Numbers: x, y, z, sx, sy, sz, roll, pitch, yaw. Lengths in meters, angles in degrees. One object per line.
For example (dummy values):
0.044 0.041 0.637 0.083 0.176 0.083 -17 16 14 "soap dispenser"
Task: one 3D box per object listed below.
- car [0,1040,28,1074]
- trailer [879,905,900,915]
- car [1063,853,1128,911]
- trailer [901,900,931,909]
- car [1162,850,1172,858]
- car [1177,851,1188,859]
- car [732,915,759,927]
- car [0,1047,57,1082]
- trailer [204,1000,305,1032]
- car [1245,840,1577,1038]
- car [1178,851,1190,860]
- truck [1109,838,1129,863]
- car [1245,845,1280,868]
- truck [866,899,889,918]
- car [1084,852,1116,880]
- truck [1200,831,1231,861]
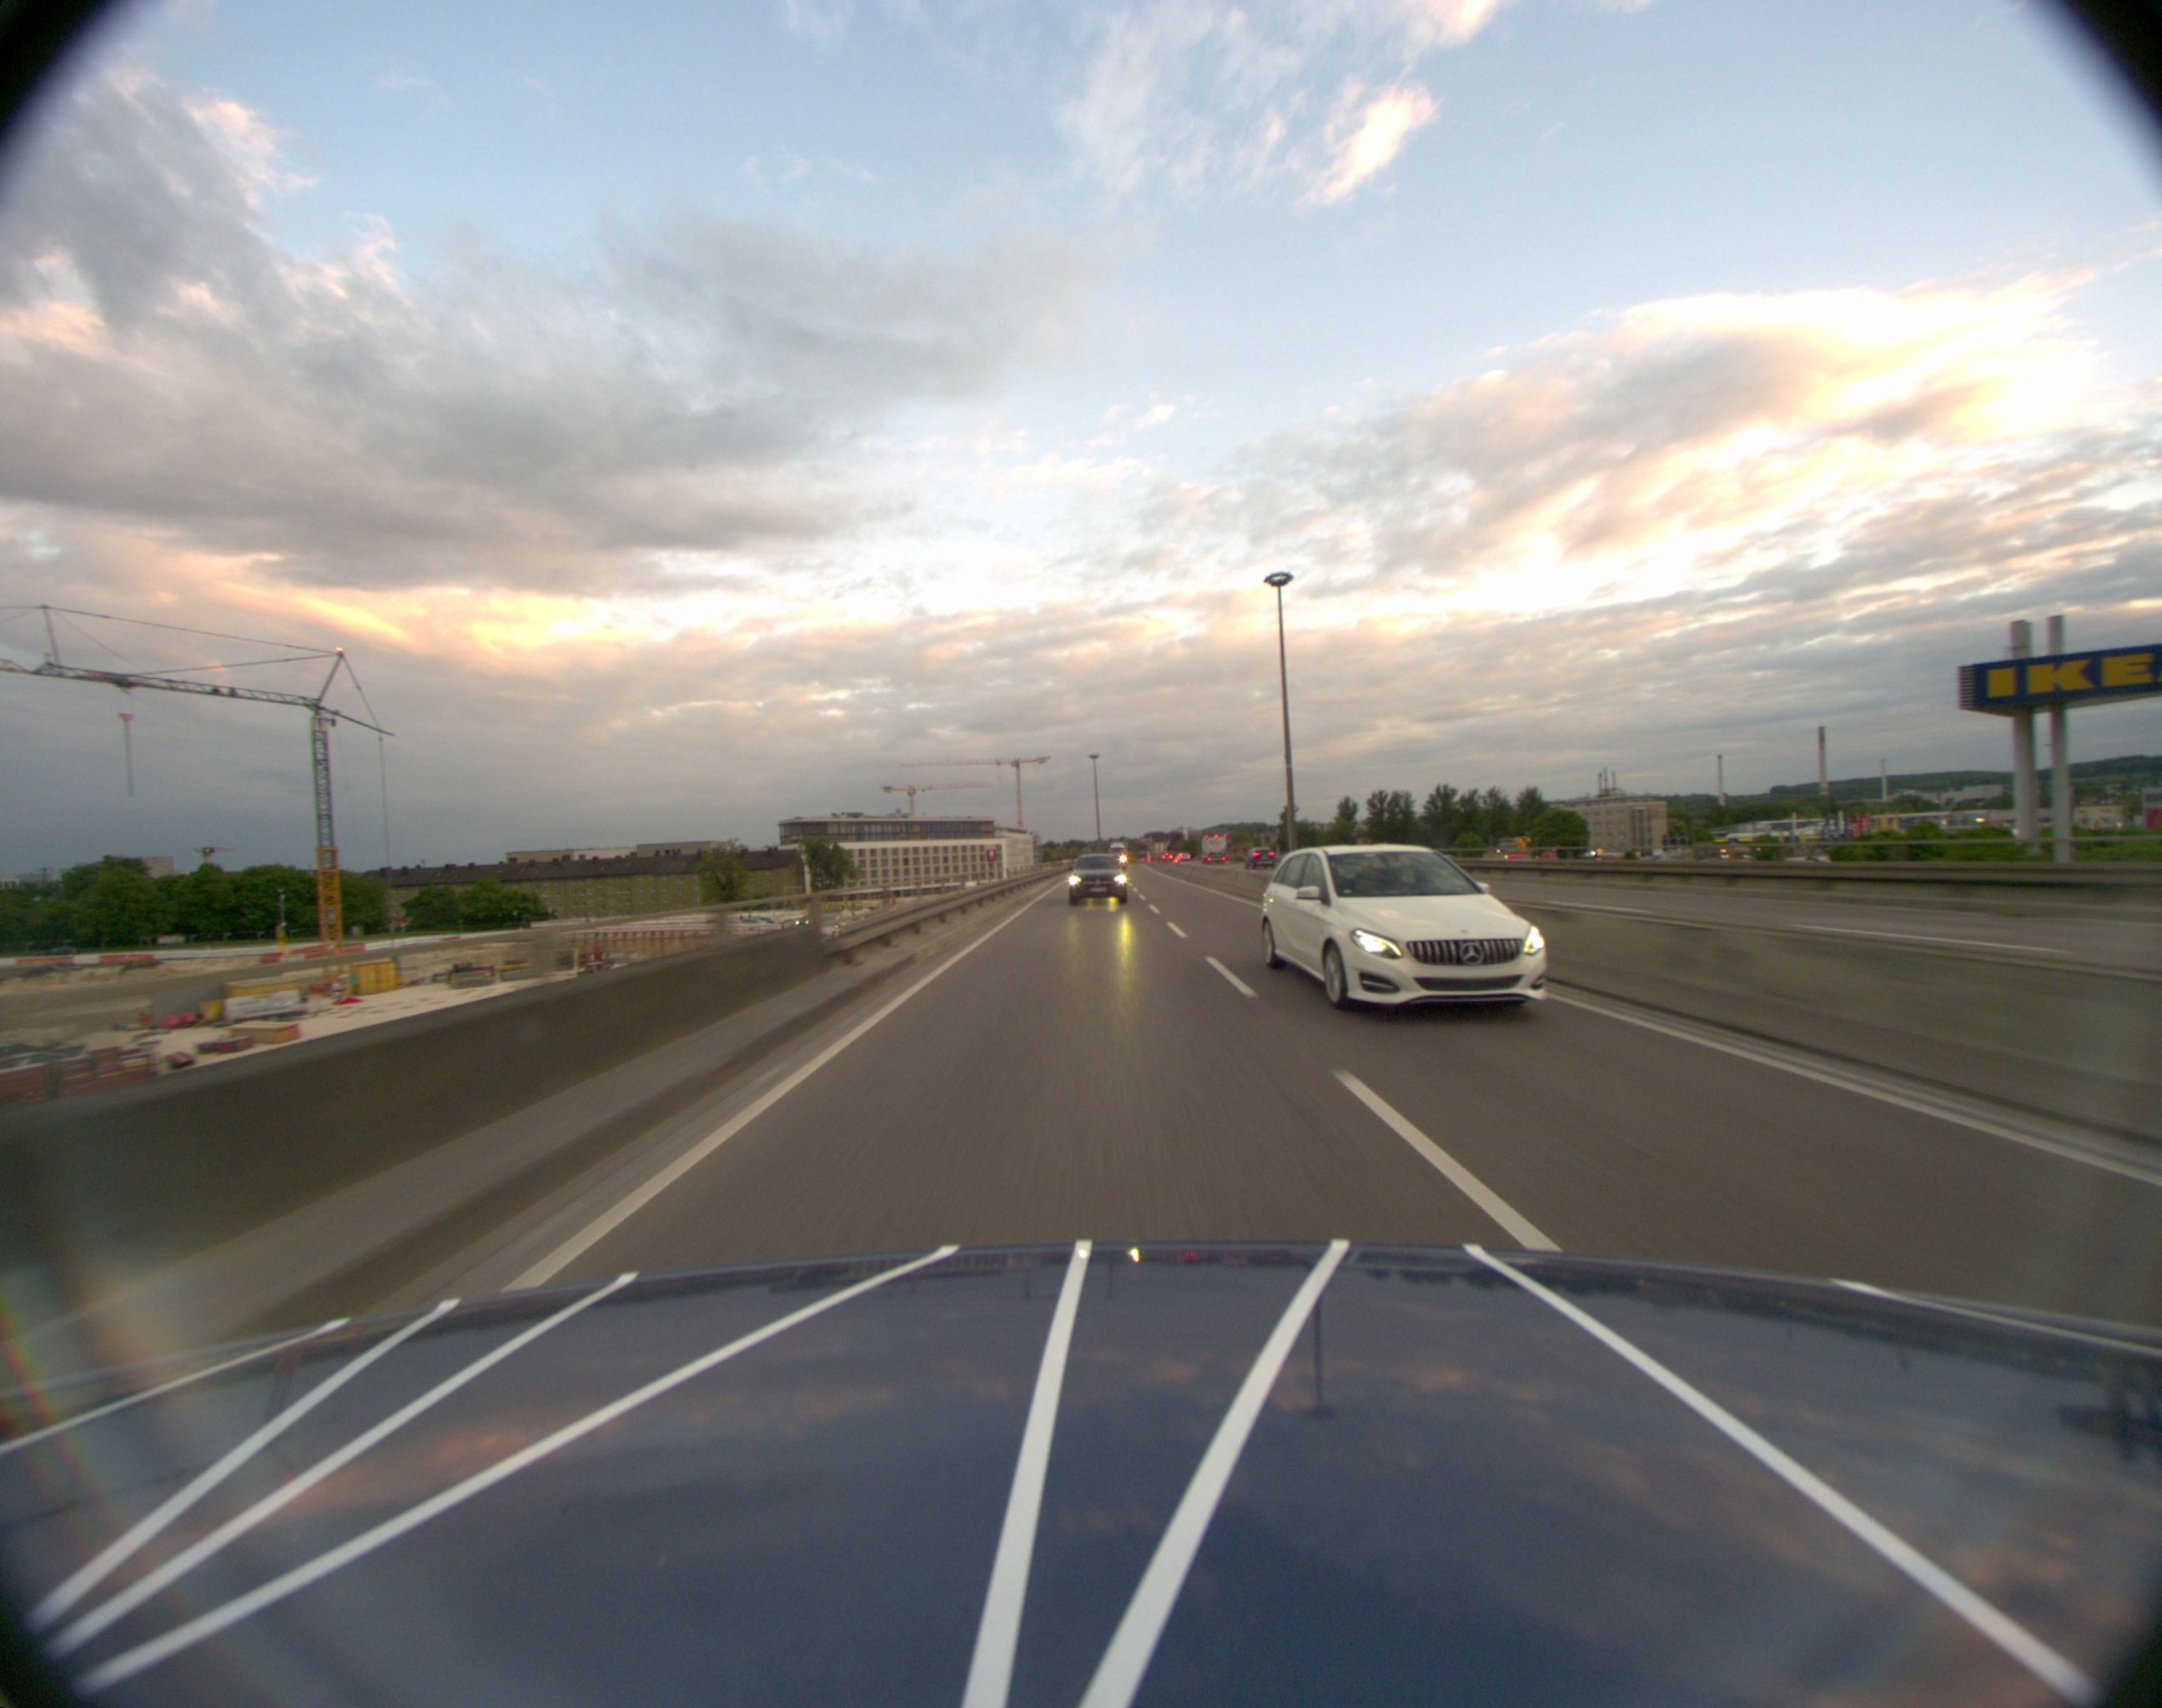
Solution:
-69.900 13.183 47.794 1.682 1.910 4.005 -9 0 30 "car"
-37.297 10.911 147.898 1.998 1.339 5.875 -8 -1 4 "trailer"
0.539 0.803 23.718 1.823 1.602 4.214 -1 0 3 "car"
-33.195 10.186 152.950 5.876 1.340 2.024 -2 0 -15 "trailer"
15.961 0.078 141.538 1.632 1.432 3.837 -2 -1 2 "car"
23.329 0.257 174.794 1.905 1.889 5.460 -2 0 3 "car"
-54.138 10.844 122.701 3.787 1.729 1.647 -4 0 17 "car"
-63.395 12.591 44.493 1.526 1.433 3.802 -9 -1 30 "car"
-55.663 10.884 51.237 1.780 1.233 4.260 -4 -1 29 "trailer"
3.150 0.718 8.471 1.695 1.528 4.784 -2 -1 2 "car"
19.133 0.255 140.755 1.835 1.494 4.817 -1 0 4 "car"
7.023 -0.615 139.546 3.164 4.369 8.797 -2 0 6 "truck"
13.941 0.160 58.571 1.981 1.596 4.443 -2 0 5 "car"
-37.479 9.977 140.100 2.163 2.930 7.337 -5 -1 -1 "truck"
1.220 0.761 48.203 1.891 1.641 4.345 -2 -1 1 "car"
15.526 -0.869 88.359 2.540 3.277 7.447 -2 0 3 "truck"
